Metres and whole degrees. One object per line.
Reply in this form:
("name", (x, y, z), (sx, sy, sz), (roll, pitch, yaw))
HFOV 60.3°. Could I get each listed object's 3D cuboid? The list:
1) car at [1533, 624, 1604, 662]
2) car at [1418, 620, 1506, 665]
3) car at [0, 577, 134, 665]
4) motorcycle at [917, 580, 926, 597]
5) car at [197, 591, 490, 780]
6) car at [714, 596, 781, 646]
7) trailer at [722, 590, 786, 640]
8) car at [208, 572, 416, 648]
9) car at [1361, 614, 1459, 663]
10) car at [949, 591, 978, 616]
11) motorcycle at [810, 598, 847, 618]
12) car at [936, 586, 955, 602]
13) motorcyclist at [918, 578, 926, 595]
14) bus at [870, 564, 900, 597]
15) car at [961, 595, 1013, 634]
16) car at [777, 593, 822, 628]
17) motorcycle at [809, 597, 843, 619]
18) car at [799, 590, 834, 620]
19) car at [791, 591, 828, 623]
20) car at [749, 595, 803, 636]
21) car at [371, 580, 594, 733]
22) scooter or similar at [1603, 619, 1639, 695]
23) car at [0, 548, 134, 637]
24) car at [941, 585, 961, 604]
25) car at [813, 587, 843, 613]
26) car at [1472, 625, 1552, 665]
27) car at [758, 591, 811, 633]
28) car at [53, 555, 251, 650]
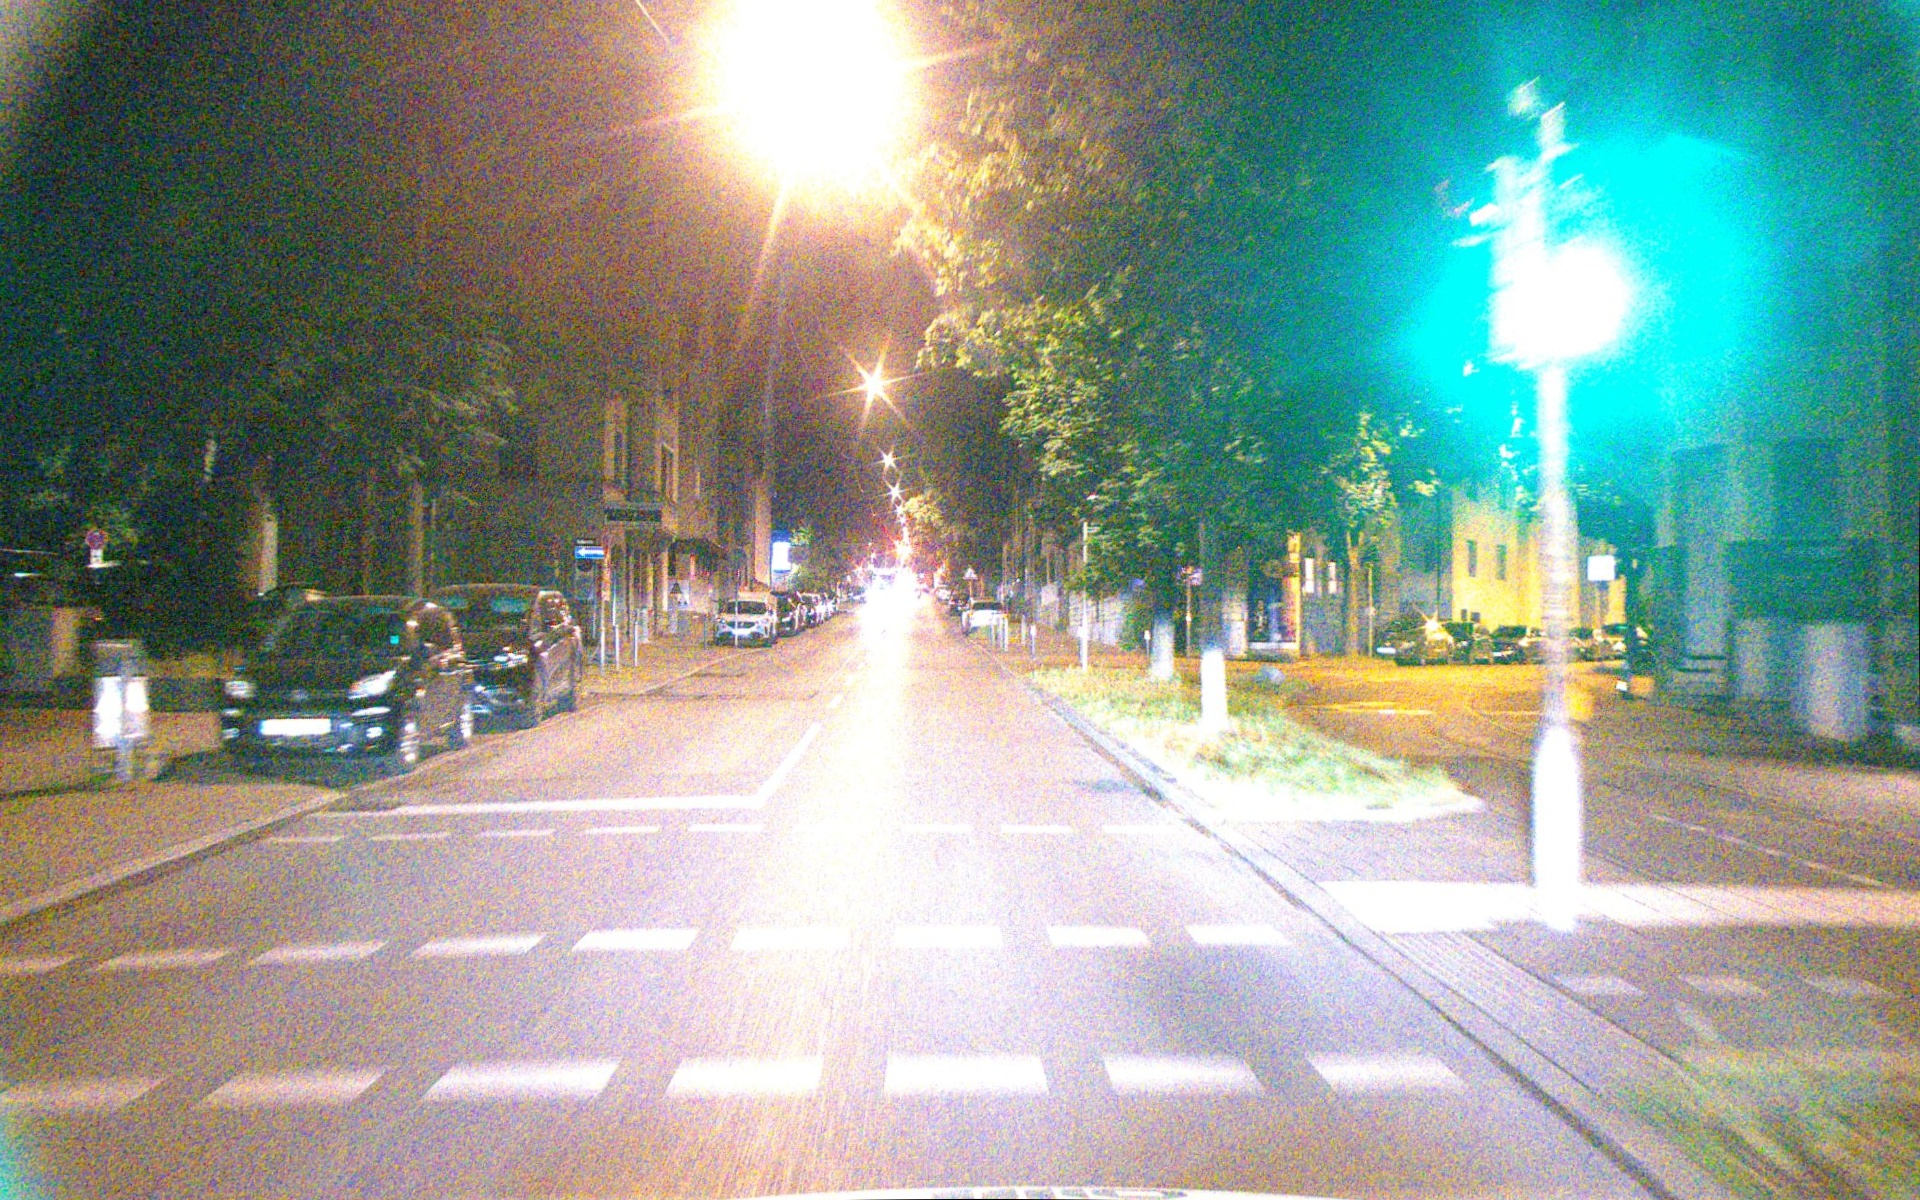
("car", (24.685, 1.740, 67.008), (1.739, 1.442, 3.905), (1, 0, 36))
("car", (17.328, 1.457, 57.016), (1.766, 1.442, 3.823), (1, 0, 36))
("car", (-15.104, 0.313, 27.068), (1.525, 1.340, 3.560), (1, 0, -3))
("motorcycle", (-4.116, -1.250, 177.730), (0.912, 1.782, 2.624), (1, 0, -1))
("car", (-5.632, 0.720, 15.573), (1.615, 1.541, 3.698), (1, 0, -5))
("car", (-6.798, 0.639, 53.217), (1.778, 1.510, 4.345), (1, 0, -3))
("trailer", (-7.150, 0.530, 57.797), (1.603, 1.668, 3.440), (1, 0, 3))
("car", (-14.468, 0.215, 37.030), (3.902, 1.450, 1.763), (3, 0, 8))
("car", (14.206, 1.205, 52.116), (1.766, 1.442, 3.823), (1, 0, 36))
("car", (0.217, 0.220, 105.288), (1.727, 1.502, 4.079), (-1, 1, -1))
("motorcycle", (-7.642, 0.474, 96.059), (2.161, 1.150, 0.714), (0, 1, 32))
("car", (-1.505, -0.645, 167.420), (1.831, 1.553, 4.149), (-1, 1, -2))
("motorcyclist", (-4.115, -1.434, 177.731), (0.831, 1.782, 0.805), (1, -1, -2))
("bus", (-7.745, -2.035, 172.111), (2.780, 3.233, 10.496), (1, 1, -1))
("car", (1.051, 0.568, 66.864), (1.808, 1.442, 4.643), (-3, 0, -2))
("car", (-7.510, 0.491, 77.549), (1.826, 1.518, 4.278), (1, 0, -2))
("motorcycle", (-7.641, 0.453, 94.039), (0.710, 1.167, 2.173), (-1, 1, -43))
("car", (-7.757, 0.269, 89.793), (1.670, 1.517, 4.226), (-1, 1, -2))
("car", (-7.454, 0.370, 82.062), (1.589, 1.518, 3.779), (1, 0, -2))
("car", (-7.060, 0.570, 63.760), (1.798, 1.472, 4.542), (0, 1, -3))
("car", (-5.904, 0.612, 21.028), (1.812, 1.679, 4.667), (1, 1, -5))
("scooter or similar", (10.644, 0.904, 26.614), (0.488, 1.166, 1.666), (-2, -2, 23))
("car", (-18.210, -0.156, 32.285), (1.719, 1.634, 3.983), (3, -1, 8))
("car", (-0.872, -0.531, 153.963), (1.775, 1.622, 4.272), (-1, 1, -2))
("car", (-8.096, 0.009, 101.653), (1.605, 1.524, 2.765), (0, 0, 0))
("car", (20.551, 1.658, 61.470), (1.739, 1.364, 3.905), (1, 0, 36))
("car", (-7.278, 0.459, 68.924), (1.798, 1.647, 4.543), (1, 0, -1))
("car", (-15.114, 0.048, 31.208), (1.721, 1.565, 4.185), (3, 0, -2))
